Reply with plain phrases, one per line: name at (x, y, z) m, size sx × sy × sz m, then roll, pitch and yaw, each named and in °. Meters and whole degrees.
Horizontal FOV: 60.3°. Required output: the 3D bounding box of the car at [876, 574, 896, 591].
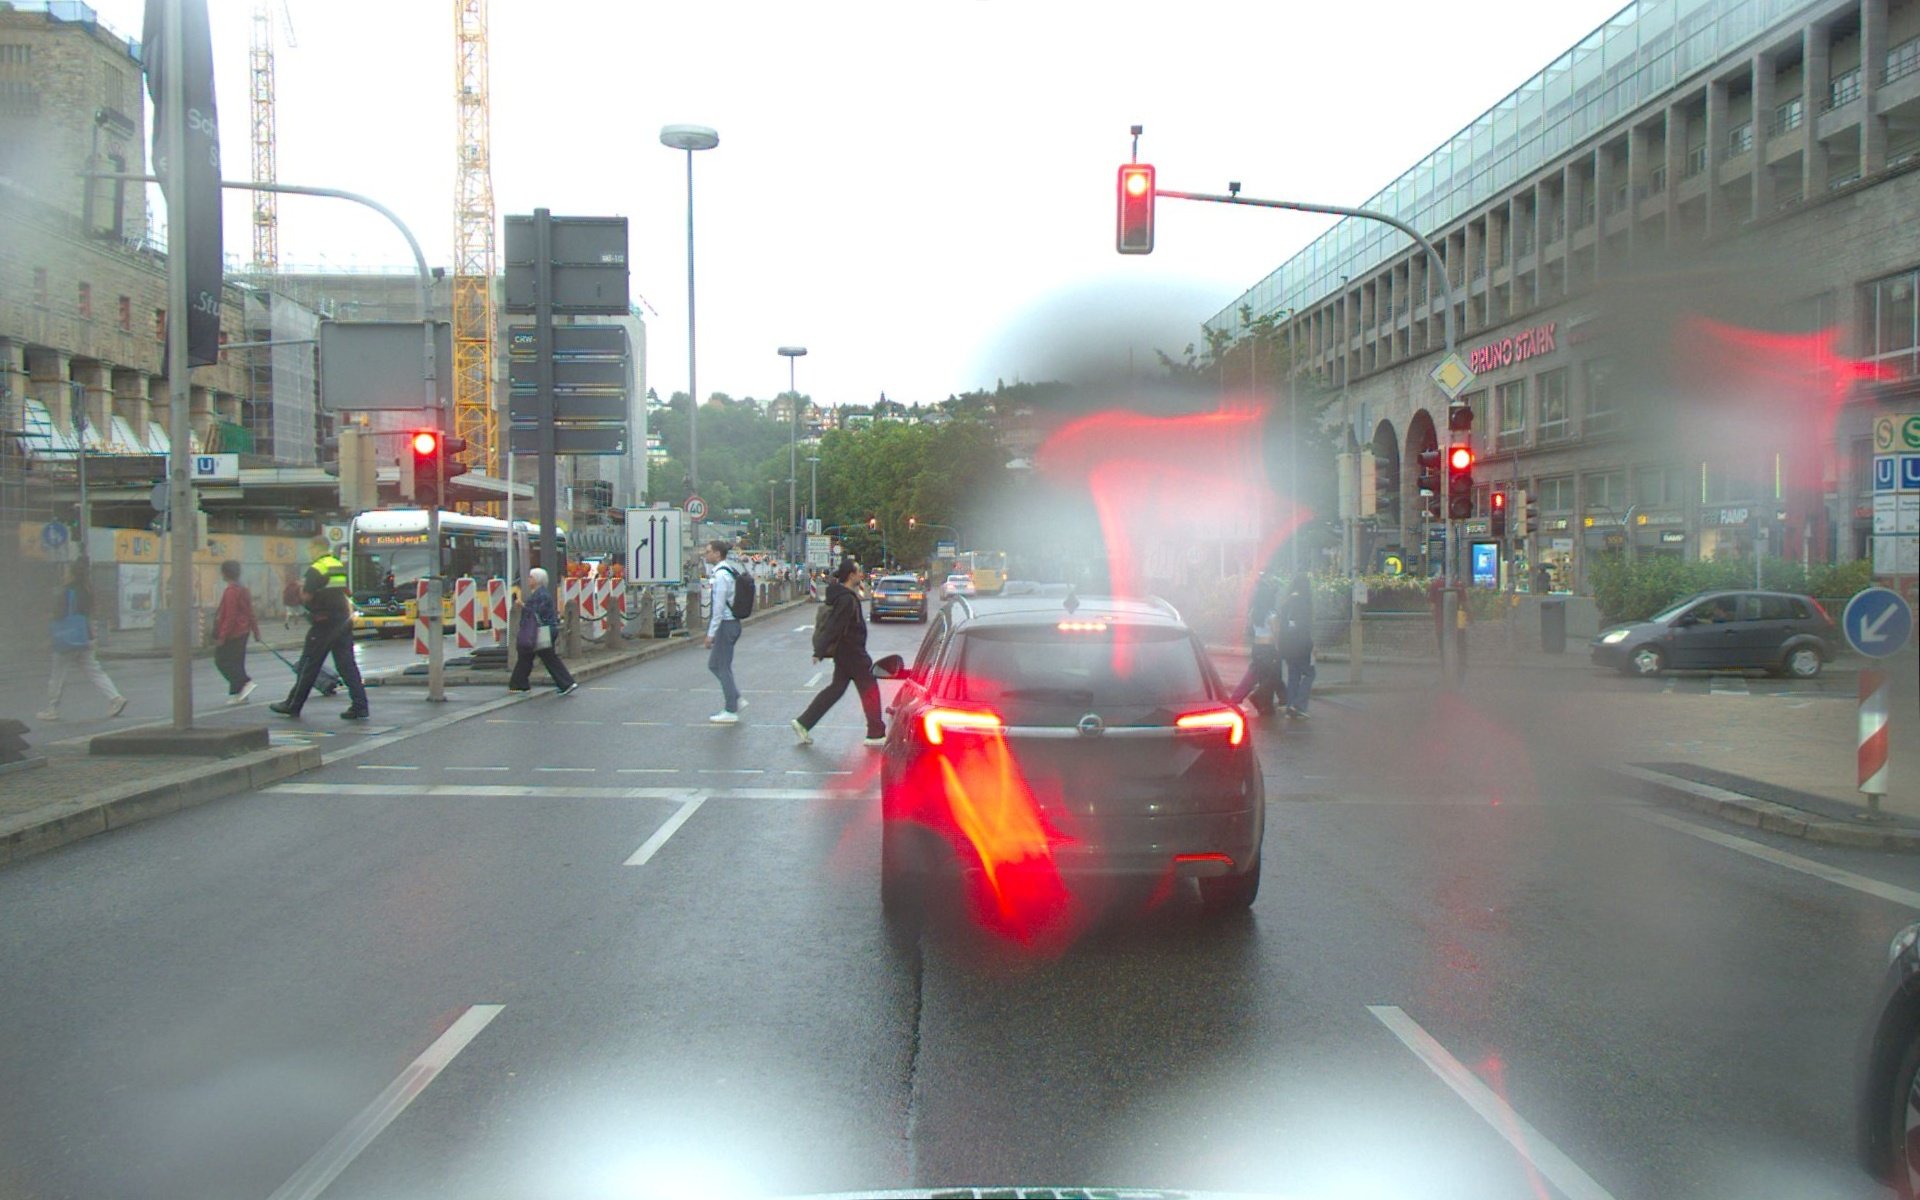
car at (-6.736, -1.588, 150.969) m, size 1.723 × 1.422 × 3.563 m, roll 1°, pitch 0°, yaw -1°

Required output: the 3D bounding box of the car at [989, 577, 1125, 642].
car at (2.217, 0.210, 39.119) m, size 1.725 × 1.422 × 4.627 m, roll 1°, pitch 0°, yaw -17°

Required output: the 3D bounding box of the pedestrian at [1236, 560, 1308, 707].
pedestrian at (3.770, 0.397, 20.027) m, size 0.740 × 1.747 × 0.466 m, roll 1°, pitch 0°, yaw -5°

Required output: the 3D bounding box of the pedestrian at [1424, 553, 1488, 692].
pedestrian at (6.486, 0.287, 21.621) m, size 0.560 × 1.783 × 0.676 m, roll 1°, pitch 0°, yaw 42°

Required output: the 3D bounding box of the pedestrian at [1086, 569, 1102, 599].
pedestrian at (7.814, -0.940, 96.435) m, size 0.748 × 1.720 × 0.824 m, roll 1°, pitch 0°, yaw -5°

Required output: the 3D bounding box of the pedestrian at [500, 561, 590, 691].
pedestrian at (-5.204, 0.318, 20.724) m, size 0.864 × 1.588 × 0.778 m, roll 1°, pitch 0°, yaw -34°

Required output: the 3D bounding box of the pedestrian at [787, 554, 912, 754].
pedestrian at (-1.025, 0.487, 15.405) m, size 1.074 × 1.782 × 0.653 m, roll -2°, pitch 0°, yaw -4°

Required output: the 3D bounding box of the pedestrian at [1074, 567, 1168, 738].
pedestrian at (1.597, 0.511, 16.534) m, size 0.778 × 1.654 × 0.899 m, roll 1°, pitch 0°, yaw -4°

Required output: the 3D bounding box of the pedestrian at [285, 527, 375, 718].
pedestrian at (-6.359, 0.223, 16.716) m, size 0.566 × 1.868 × 0.820 m, roll 1°, pitch 0°, yaw -1°

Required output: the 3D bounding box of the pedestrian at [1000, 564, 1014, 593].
pedestrian at (4.114, -1.872, 144.581) m, size 1.174 × 2.478 × 1.228 m, roll 1°, pitch 0°, yaw 0°

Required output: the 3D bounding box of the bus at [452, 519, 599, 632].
bus at (-15.356, -0.810, 59.316) m, size 2.614 × 3.665 × 10.209 m, roll 1°, pitch 0°, yaw -1°

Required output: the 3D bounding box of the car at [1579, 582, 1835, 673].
car at (12.610, 0.441, 28.120) m, size 3.577 × 1.422 × 1.853 m, roll 1°, pitch 0°, yaw 9°

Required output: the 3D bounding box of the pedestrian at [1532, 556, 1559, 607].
pedestrian at (23.512, -0.740, 66.399) m, size 0.747 × 2.049 × 0.825 m, roll 1°, pitch 0°, yaw -1°

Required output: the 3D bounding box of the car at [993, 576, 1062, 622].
car at (2.180, -0.039, 54.368) m, size 1.719 × 1.422 × 4.398 m, roll 1°, pitch 0°, yaw -5°

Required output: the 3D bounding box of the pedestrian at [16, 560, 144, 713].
pedestrian at (-9.446, 0.382, 17.783) m, size 0.897 × 1.591 × 0.899 m, roll 1°, pitch 0°, yaw -4°

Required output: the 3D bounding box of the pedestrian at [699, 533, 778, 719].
pedestrian at (-2.355, 0.274, 17.567) m, size 0.784 × 1.923 × 0.619 m, roll 1°, pitch 0°, yaw -9°

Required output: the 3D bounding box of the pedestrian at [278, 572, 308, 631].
pedestrian at (-21.677, 0.047, 53.754) m, size 0.648 × 1.887 × 0.798 m, roll 0°, pitch 0°, yaw -1°

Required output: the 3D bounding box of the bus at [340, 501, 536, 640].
bus at (-15.204, -0.795, 49.133) m, size 2.614 × 3.665 × 10.237 m, roll 1°, pitch 0°, yaw -1°

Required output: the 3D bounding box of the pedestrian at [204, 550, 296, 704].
pedestrian at (-8.272, 0.311, 19.296) m, size 0.783 × 1.747 × 0.619 m, roll -1°, pitch 0°, yaw -4°

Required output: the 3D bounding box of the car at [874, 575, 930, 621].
car at (-1.899, -0.061, 54.226) m, size 1.718 × 1.422 × 4.536 m, roll 1°, pitch 0°, yaw -2°

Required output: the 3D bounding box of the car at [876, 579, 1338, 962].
car at (0.553, 0.685, 8.642) m, size 1.837 × 1.512 × 3.999 m, roll 1°, pitch 0°, yaw -1°

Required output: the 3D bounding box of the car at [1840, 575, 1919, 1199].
car at (3.087, 0.727, 1.763) m, size 1.757 × 1.528 × 4.627 m, roll 1°, pitch 0°, yaw -1°

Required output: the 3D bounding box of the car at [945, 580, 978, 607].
car at (0.062, -0.363, 93.983) m, size 1.808 × 1.422 × 3.563 m, roll 1°, pitch 0°, yaw -1°

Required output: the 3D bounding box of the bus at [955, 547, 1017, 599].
bus at (1.747, -1.863, 121.920) m, size 4.089 × 3.529 × 14.651 m, roll 1°, pitch 0°, yaw -1°

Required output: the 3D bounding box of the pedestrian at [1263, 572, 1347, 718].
pedestrian at (3.960, 0.511, 19.008) m, size 0.783 × 1.636 × 0.619 m, roll 1°, pitch 0°, yaw -4°

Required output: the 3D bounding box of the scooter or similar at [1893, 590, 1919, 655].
scooter or similar at (17.865, 0.416, 30.708) m, size 0.285 × 1.210 × 1.014 m, roll 1°, pitch 0°, yaw -19°

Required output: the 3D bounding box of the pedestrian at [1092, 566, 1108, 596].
pedestrian at (8.063, -1.106, 95.088) m, size 0.748 × 1.720 × 0.824 m, roll 1°, pitch 0°, yaw -5°

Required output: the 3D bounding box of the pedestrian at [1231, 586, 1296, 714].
pedestrian at (3.588, 0.588, 19.575) m, size 0.665 × 1.500 × 0.366 m, roll 1°, pitch 0°, yaw -6°
